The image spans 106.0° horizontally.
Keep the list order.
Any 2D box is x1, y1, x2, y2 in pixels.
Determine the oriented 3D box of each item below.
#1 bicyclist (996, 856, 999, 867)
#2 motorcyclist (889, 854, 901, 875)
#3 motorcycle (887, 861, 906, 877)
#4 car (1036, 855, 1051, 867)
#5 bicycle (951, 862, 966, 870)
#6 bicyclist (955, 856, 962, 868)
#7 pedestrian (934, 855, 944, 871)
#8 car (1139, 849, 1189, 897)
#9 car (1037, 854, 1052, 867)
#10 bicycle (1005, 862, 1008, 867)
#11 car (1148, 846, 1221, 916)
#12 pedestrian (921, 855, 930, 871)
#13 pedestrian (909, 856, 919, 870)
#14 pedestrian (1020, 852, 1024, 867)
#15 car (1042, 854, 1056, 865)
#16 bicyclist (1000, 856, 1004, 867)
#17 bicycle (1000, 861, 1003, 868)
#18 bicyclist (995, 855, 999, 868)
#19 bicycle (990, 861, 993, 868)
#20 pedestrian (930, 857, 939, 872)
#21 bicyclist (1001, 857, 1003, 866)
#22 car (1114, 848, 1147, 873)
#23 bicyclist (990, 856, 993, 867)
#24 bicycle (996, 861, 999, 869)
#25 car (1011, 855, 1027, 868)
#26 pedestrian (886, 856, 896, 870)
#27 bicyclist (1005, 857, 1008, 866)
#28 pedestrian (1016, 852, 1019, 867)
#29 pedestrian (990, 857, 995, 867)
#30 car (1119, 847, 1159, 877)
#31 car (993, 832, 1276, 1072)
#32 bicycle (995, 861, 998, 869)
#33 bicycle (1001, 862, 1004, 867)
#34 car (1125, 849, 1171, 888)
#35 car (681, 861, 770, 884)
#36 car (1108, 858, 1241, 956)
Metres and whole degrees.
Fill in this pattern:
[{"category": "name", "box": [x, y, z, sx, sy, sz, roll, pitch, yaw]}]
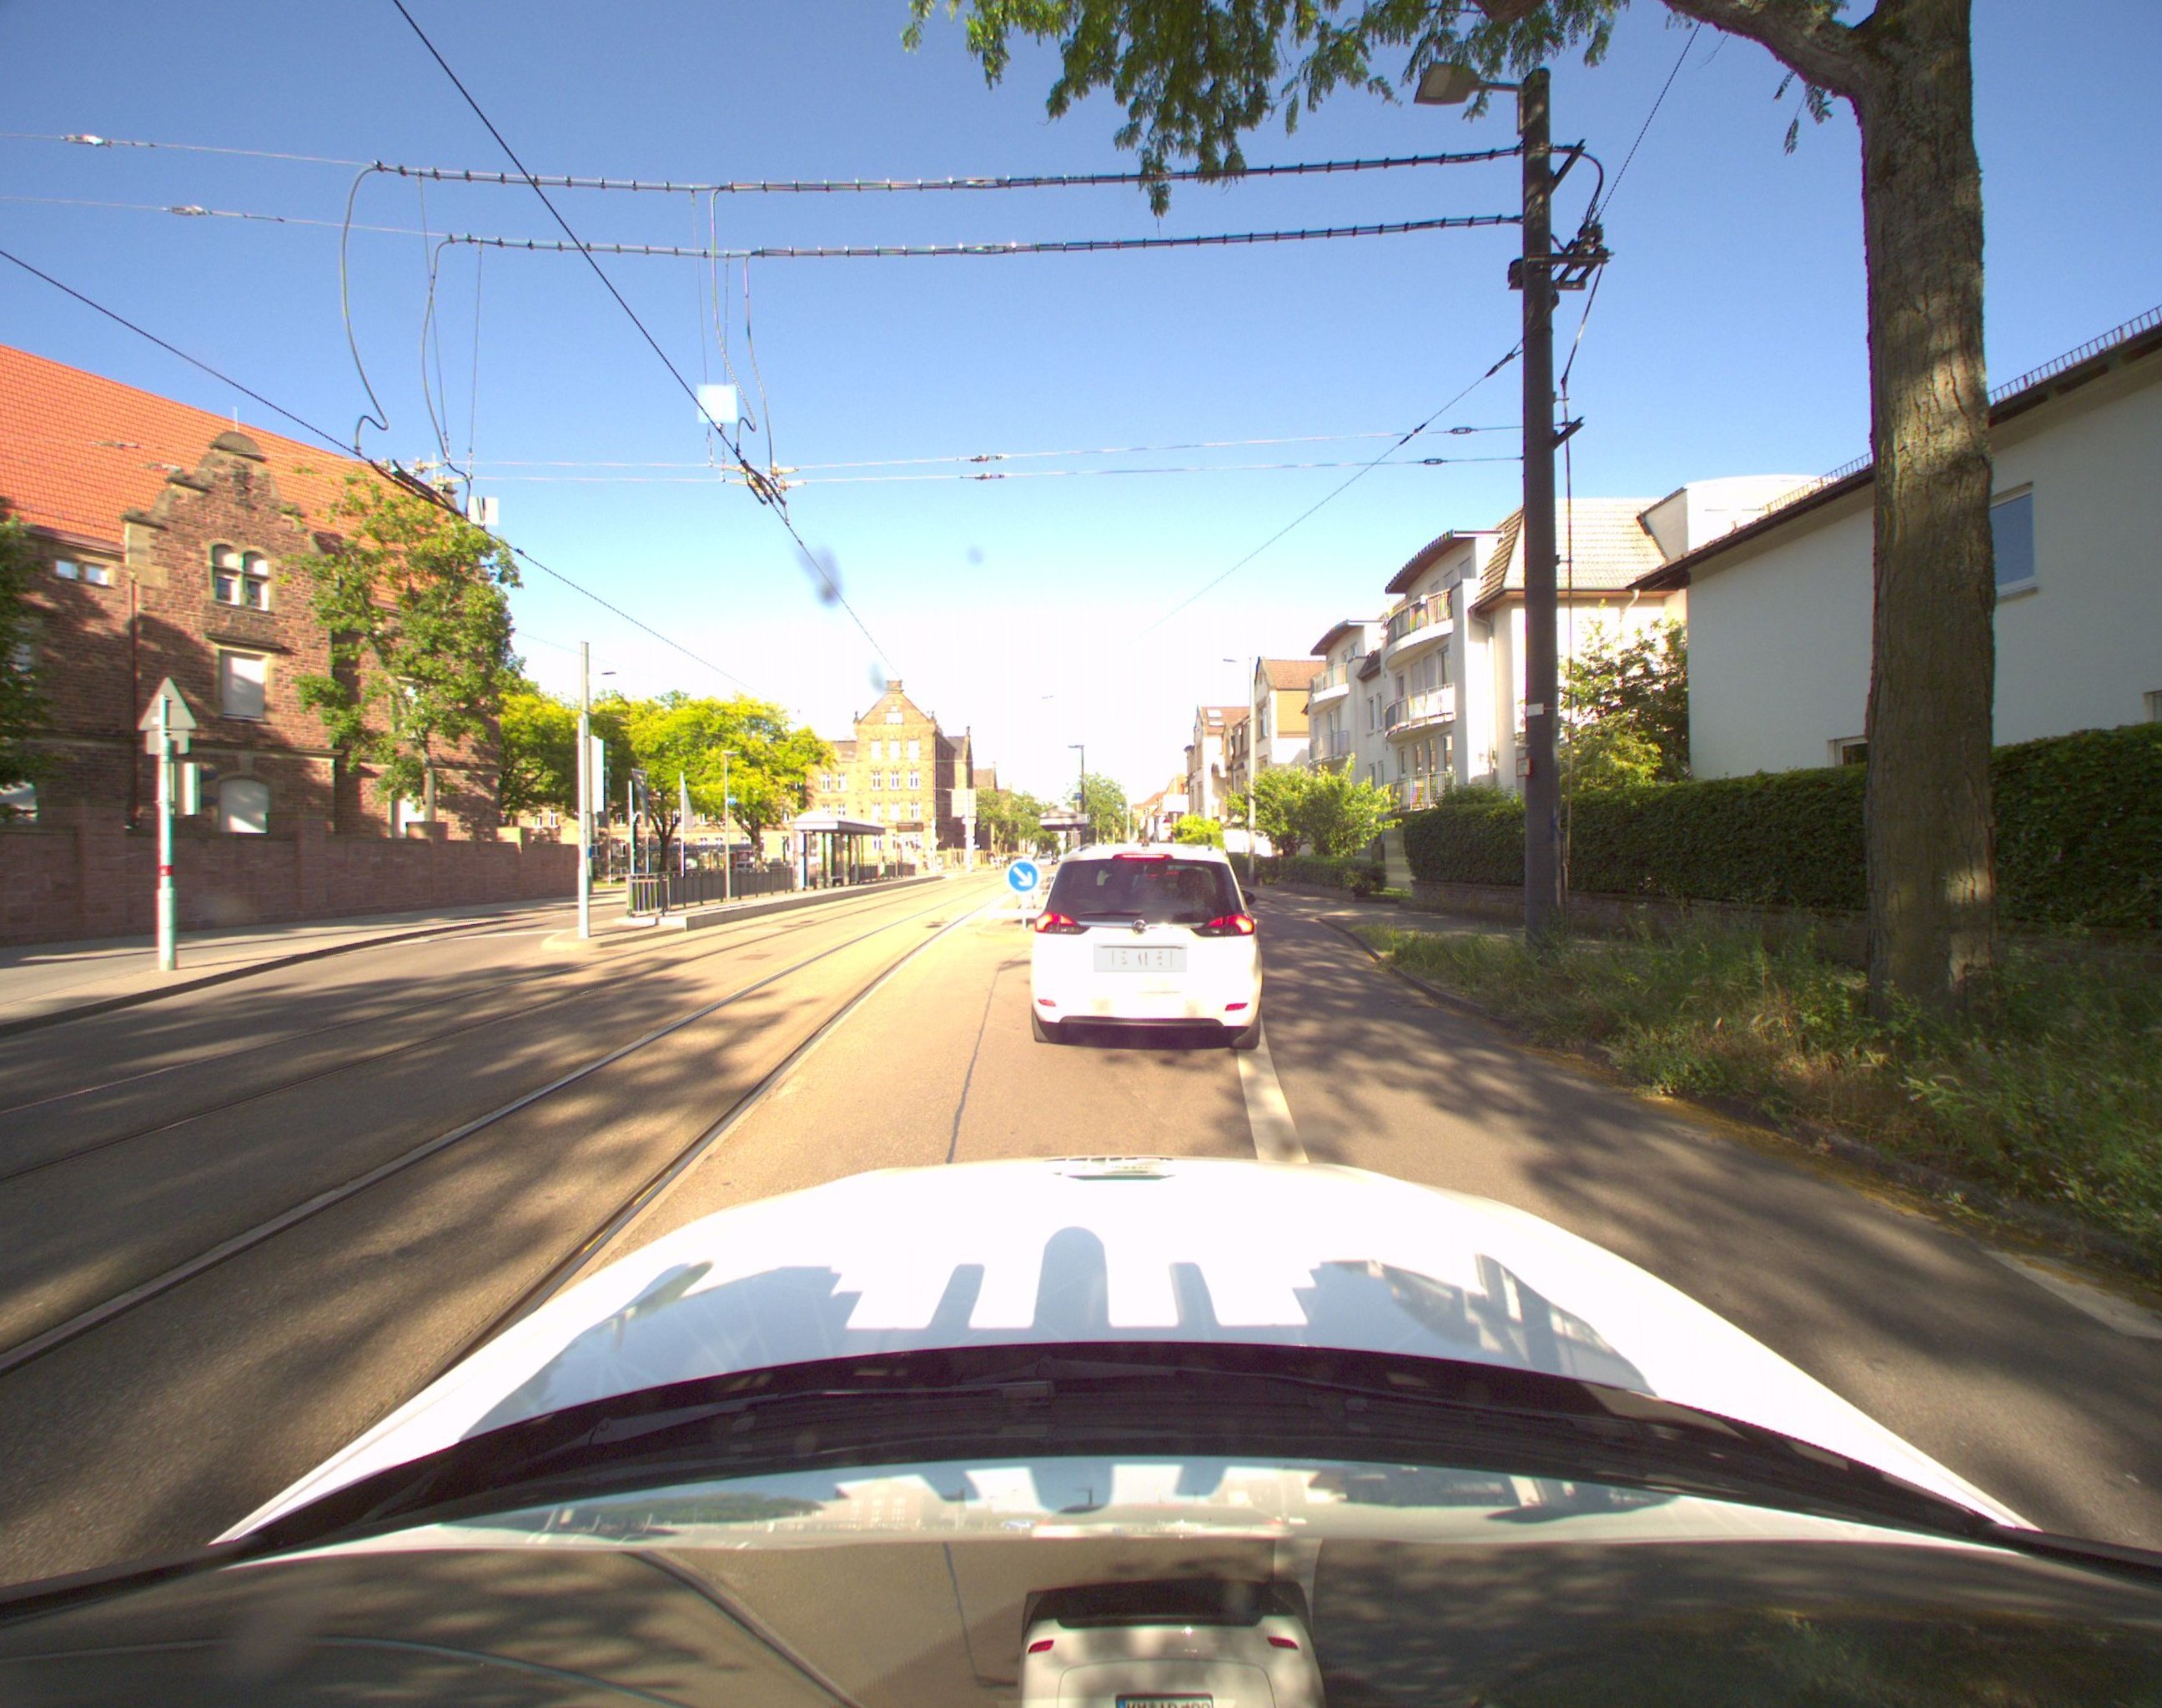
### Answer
[{"category": "bicyclist", "box": [-10.978, 0.979, 107.022, 0.443, 1.553, 0.495, -1, 0, -2]}, {"category": "motorcyclist", "box": [-14.440, 0.799, 63.342, 0.609, 1.621, 0.847, -1, 0, 11]}, {"category": "motorcycle", "box": [-14.404, 1.135, 63.494, 0.607, 1.198, 2.082, -1, 0, 12]}, {"category": "car", "box": [-5.295, 0.954, 114.742, 1.989, 1.629, 3.996, -1, 0, -3]}, {"category": "bicycle", "box": [-14.213, 1.404, 94.411, 1.665, 0.953, 0.529, -1, 0, -1]}, {"category": "bicyclist", "box": [-14.225, 0.898, 94.417, 0.756, 1.430, 0.516, 0, -1, -1]}, {"category": "pedestrian", "box": [-15.610, 0.978, 89.518, 0.892, 1.684, 1.029, 0, -1, 1]}, {"category": "car", "box": [2.943, 0.636, 29.317, 1.630, 1.601, 3.859, -1, 0, 4]}, {"category": "car", "box": [-4.814, 0.893, 107.619, 1.989, 1.629, 3.996, -1, 0, -3]}, {"category": "bicycle", "box": [-10.204, 1.465, 112.100, 0.343, 0.725, 0.996, 0, -1, -1]}, {"category": "car", "box": [2.572, 0.639, 20.891, 1.630, 1.601, 3.859, -1, 0, 4]}, {"category": "pedestrian", "box": [-17.017, 0.992, 89.138, 0.839, 1.691, 1.029, 0, -1, 1]}, {"category": "pedestrian", "box": [-18.376, 0.978, 89.637, 0.799, 1.588, 0.934, 0, -1, -1]}, {"category": "pedestrian", "box": [-8.140, 0.773, 112.651, 0.443, 2.013, 0.495, -1, 0, -2]}, {"category": "car", "box": [-5.129, 0.909, 130.989, 1.987, 1.629, 4.000, -1, 0, 0]}, {"category": "bicyclist", "box": [-10.661, 0.997, 109.601, 0.443, 1.553, 0.495, -1, 0, -2]}, {"category": "bicycle", "box": [-10.660, 1.464, 109.606, 0.343, 0.950, 0.996, 0, -1, -1]}, {"category": "bicyclist", "box": [-10.706, 0.949, 103.732, 0.443, 1.553, 0.742, -1, 0, -2]}, {"category": "bicycle", "box": [-12.676, 1.528, 115.634, 0.343, 0.950, 0.996, 0, -1, -1]}, {"category": "pedestrian", "box": [-17.298, 1.210, 95.958, 0.728, 1.714, 0.710, -1, -1, 24]}, {"category": "bicyclist", "box": [-10.859, 1.016, 112.040, 0.343, 1.320, 0.404, 0, -1, -2]}, {"category": "car", "box": [3.101, 0.385, 51.841, 1.986, 1.503, 4.002, -1, 0, 2]}, {"category": "bicyclist", "box": [-12.683, 1.060, 115.600, 0.443, 1.553, 0.495, -1, 0, -2]}, {"category": "bicycle", "box": [-11.002, 1.446, 107.064, 0.343, 0.950, 0.996, 0, -1, -1]}, {"category": "car", "box": [-8.190, 0.925, 107.478, 1.989, 1.629, 3.996, -1, 0, -3]}, {"category": "pedestrian", "box": [-20.796, 0.992, 89.110, 0.934, 1.588, 0.799, 0, -1, -19]}, {"category": "bicyclist", "box": [-10.213, 1.000, 112.100, 0.358, 1.303, 0.397, -1, 0, -2]}, {"category": "pedestrian", "box": [-8.768, 0.775, 112.342, 0.443, 2.013, 0.495, -1, 0, -2]}, {"category": "pedestrian", "box": [-15.196, 1.408, 139.709, 0.733, 1.714, 0.753, 0, -1, -4]}, {"category": "car", "box": [3.126, 0.415, 44.373, 1.986, 1.503, 4.002, -1, 0, 2]}, {"category": "car", "box": [0.642, 0.685, 7.701, 1.982, 1.644, 4.003, 0, 0, 8]}, {"category": "bicycle", "box": [-10.713, 1.416, 103.521, 0.343, 0.950, 1.160, 0, -1, -1]}, {"category": "bicycle", "box": [-10.854, 1.469, 112.020, 0.343, 0.725, 0.996, 0, -1, -1]}, {"category": "car", "box": [2.929, 0.611, 36.247, 1.824, 1.579, 4.012, -1, 0, 2]}, {"category": "car", "box": [-32.960, 1.701, 75.699, 6.926, 1.921, 2.992, -1, 0, 0]}, {"category": "car", "box": [1.530, 0.792, 14.063, 1.944, 1.397, 4.005, -1, 0, 4]}]
